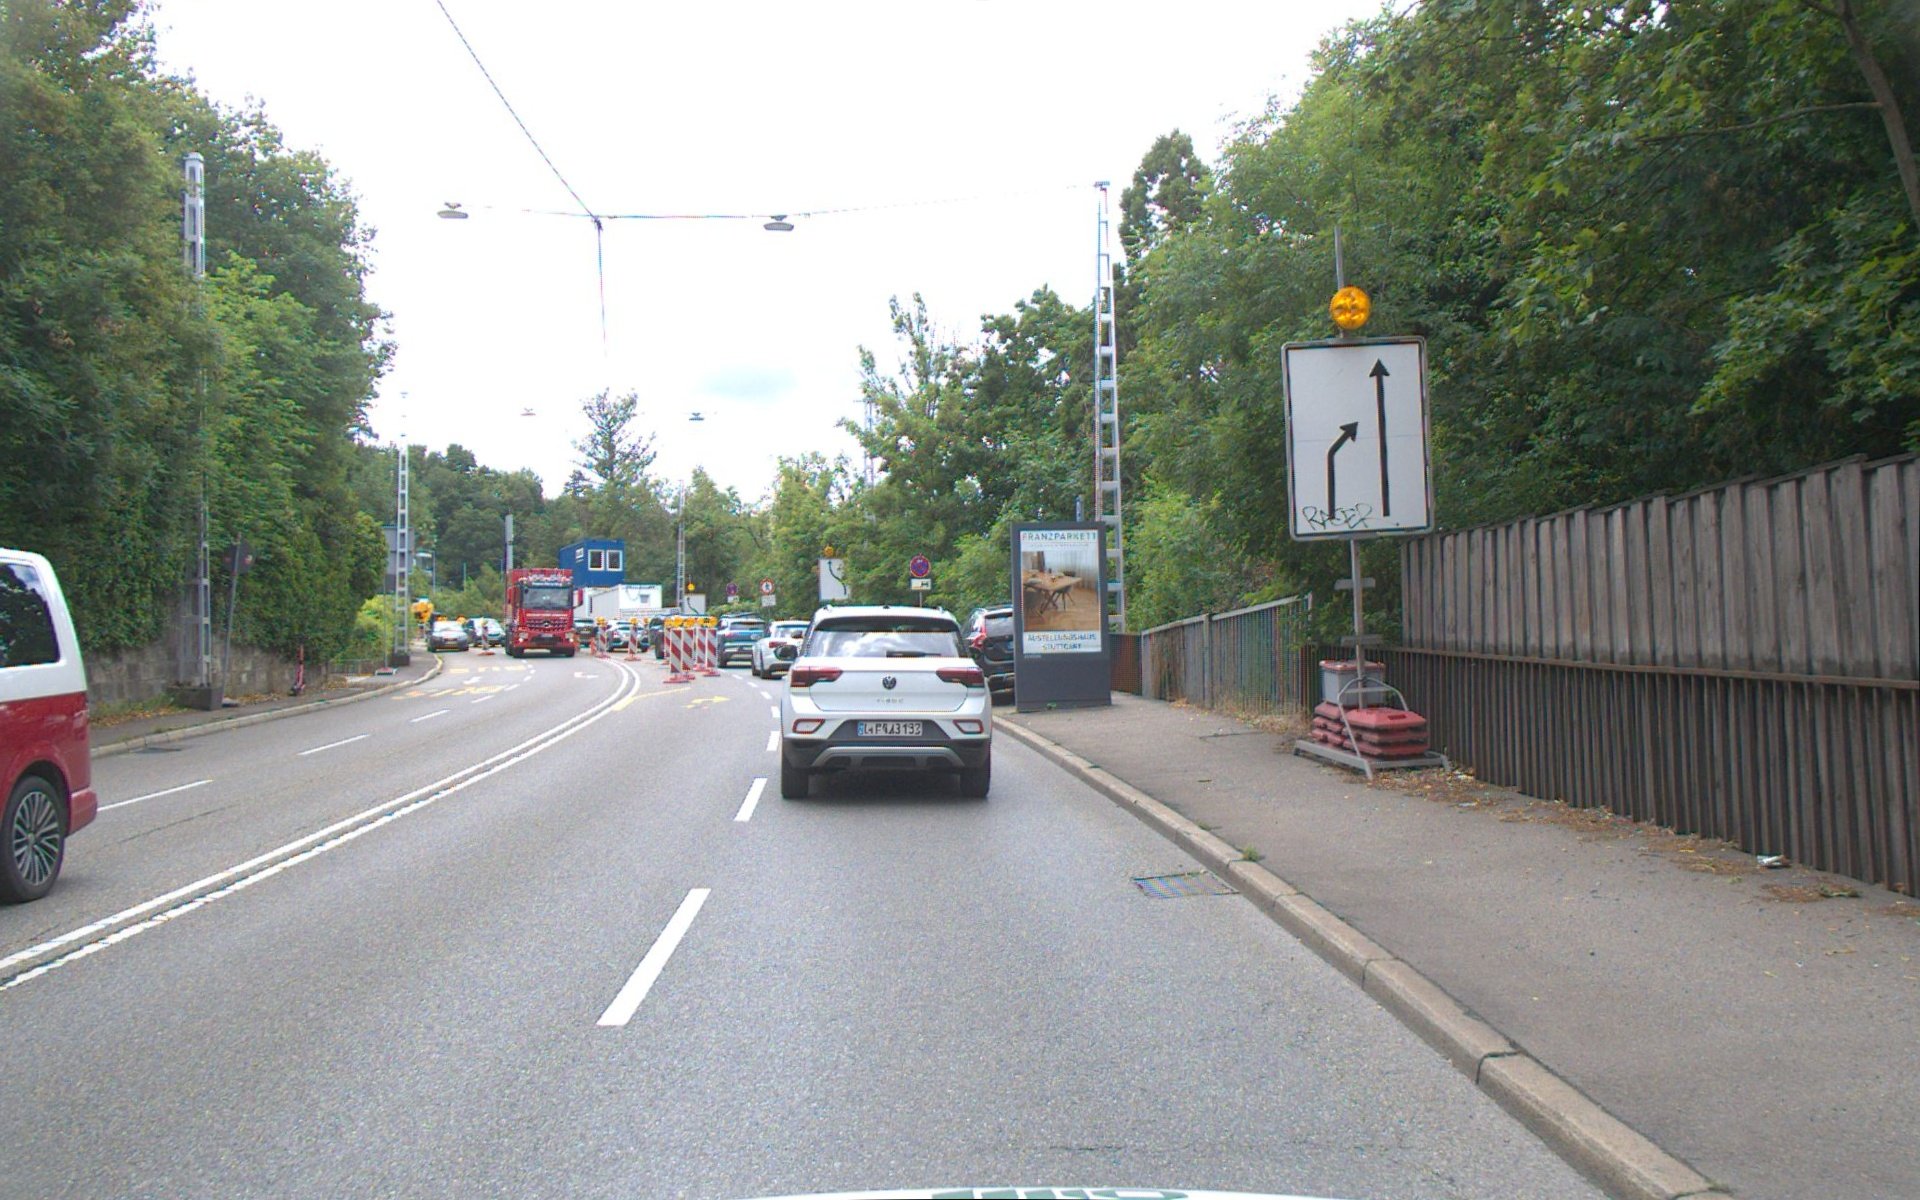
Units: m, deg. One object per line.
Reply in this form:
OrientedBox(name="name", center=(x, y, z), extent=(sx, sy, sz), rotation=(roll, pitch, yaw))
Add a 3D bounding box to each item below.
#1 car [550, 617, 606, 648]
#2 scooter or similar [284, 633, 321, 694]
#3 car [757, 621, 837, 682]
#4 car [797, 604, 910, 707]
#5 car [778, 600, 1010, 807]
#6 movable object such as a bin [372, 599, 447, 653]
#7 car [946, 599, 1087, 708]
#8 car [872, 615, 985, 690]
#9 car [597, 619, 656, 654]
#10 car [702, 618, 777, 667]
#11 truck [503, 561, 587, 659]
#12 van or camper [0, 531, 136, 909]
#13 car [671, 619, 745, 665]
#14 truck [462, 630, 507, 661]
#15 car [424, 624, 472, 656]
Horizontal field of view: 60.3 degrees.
OrientedBox(name="car", center=(-19.934, 1.700, 86.132), extent=(1.969, 1.475, 4.115), rotation=(-1, -1, -26))
OrientedBox(name="scooter or similar", center=(-13.772, 1.317, 34.669), extent=(0.528, 1.226, 1.275), rotation=(1, -1, -14))
OrientedBox(name="car", center=(-4.267, 1.296, 42.771), extent=(1.726, 1.497, 3.785), rotation=(0, -1, -11))
OrientedBox(name="car", center=(-1.904, 0.905, 28.590), extent=(1.724, 1.638, 3.789), rotation=(0, -1, -7))
OrientedBox(name="car", center=(-0.712, 0.814, 14.739), extent=(1.724, 1.583, 3.789), rotation=(0, -1, -8))
OrientedBox(name="movable object such as a bin", center=(-41.005, 1.946, 123.121), extent=(3.500, 3.764, 7.408), rotation=(-1, 0, -33))
OrientedBox(name="car", center=(0.868, 0.847, 28.184), extent=(1.732, 1.548, 4.388), rotation=(-5, 0, -6))
OrientedBox(name="car", center=(-0.815, 1.188, 39.097), extent=(1.777, 1.488, 4.181), rotation=(-6, 1, -12))
OrientedBox(name="car", center=(-15.248, 1.680, 75.468), extent=(1.965, 1.475, 4.123), rotation=(-2, -1, -21))
OrientedBox(name="car", center=(-7.156, 1.375, 53.255), extent=(1.960, 1.439, 4.136), rotation=(-2, -1, -13))
OrientedBox(name="truck", center=(-17.835, 0.452, 70.660), extent=(2.899, 3.762, 9.872), rotation=(-3, 0, -16))
OrientedBox(name="van or camper", center=(-5.734, 0.634, 7.473), extent=(1.853, 1.911, 4.761), rotation=(-2, 0, -4))
OrientedBox(name="car", center=(-9.503, 1.551, 62.147), extent=(1.964, 1.583, 4.126), rotation=(-1, 0, -20))
OrientedBox(name="truck", center=(-24.851, 2.372, 86.426), extent=(1.641, 1.468, 3.994), rotation=(-2, -1, -25))
OrientedBox(name="car", center=(-24.544, 1.899, 79.245), extent=(1.869, 1.406, 3.973), rotation=(-1, 0, -22))
